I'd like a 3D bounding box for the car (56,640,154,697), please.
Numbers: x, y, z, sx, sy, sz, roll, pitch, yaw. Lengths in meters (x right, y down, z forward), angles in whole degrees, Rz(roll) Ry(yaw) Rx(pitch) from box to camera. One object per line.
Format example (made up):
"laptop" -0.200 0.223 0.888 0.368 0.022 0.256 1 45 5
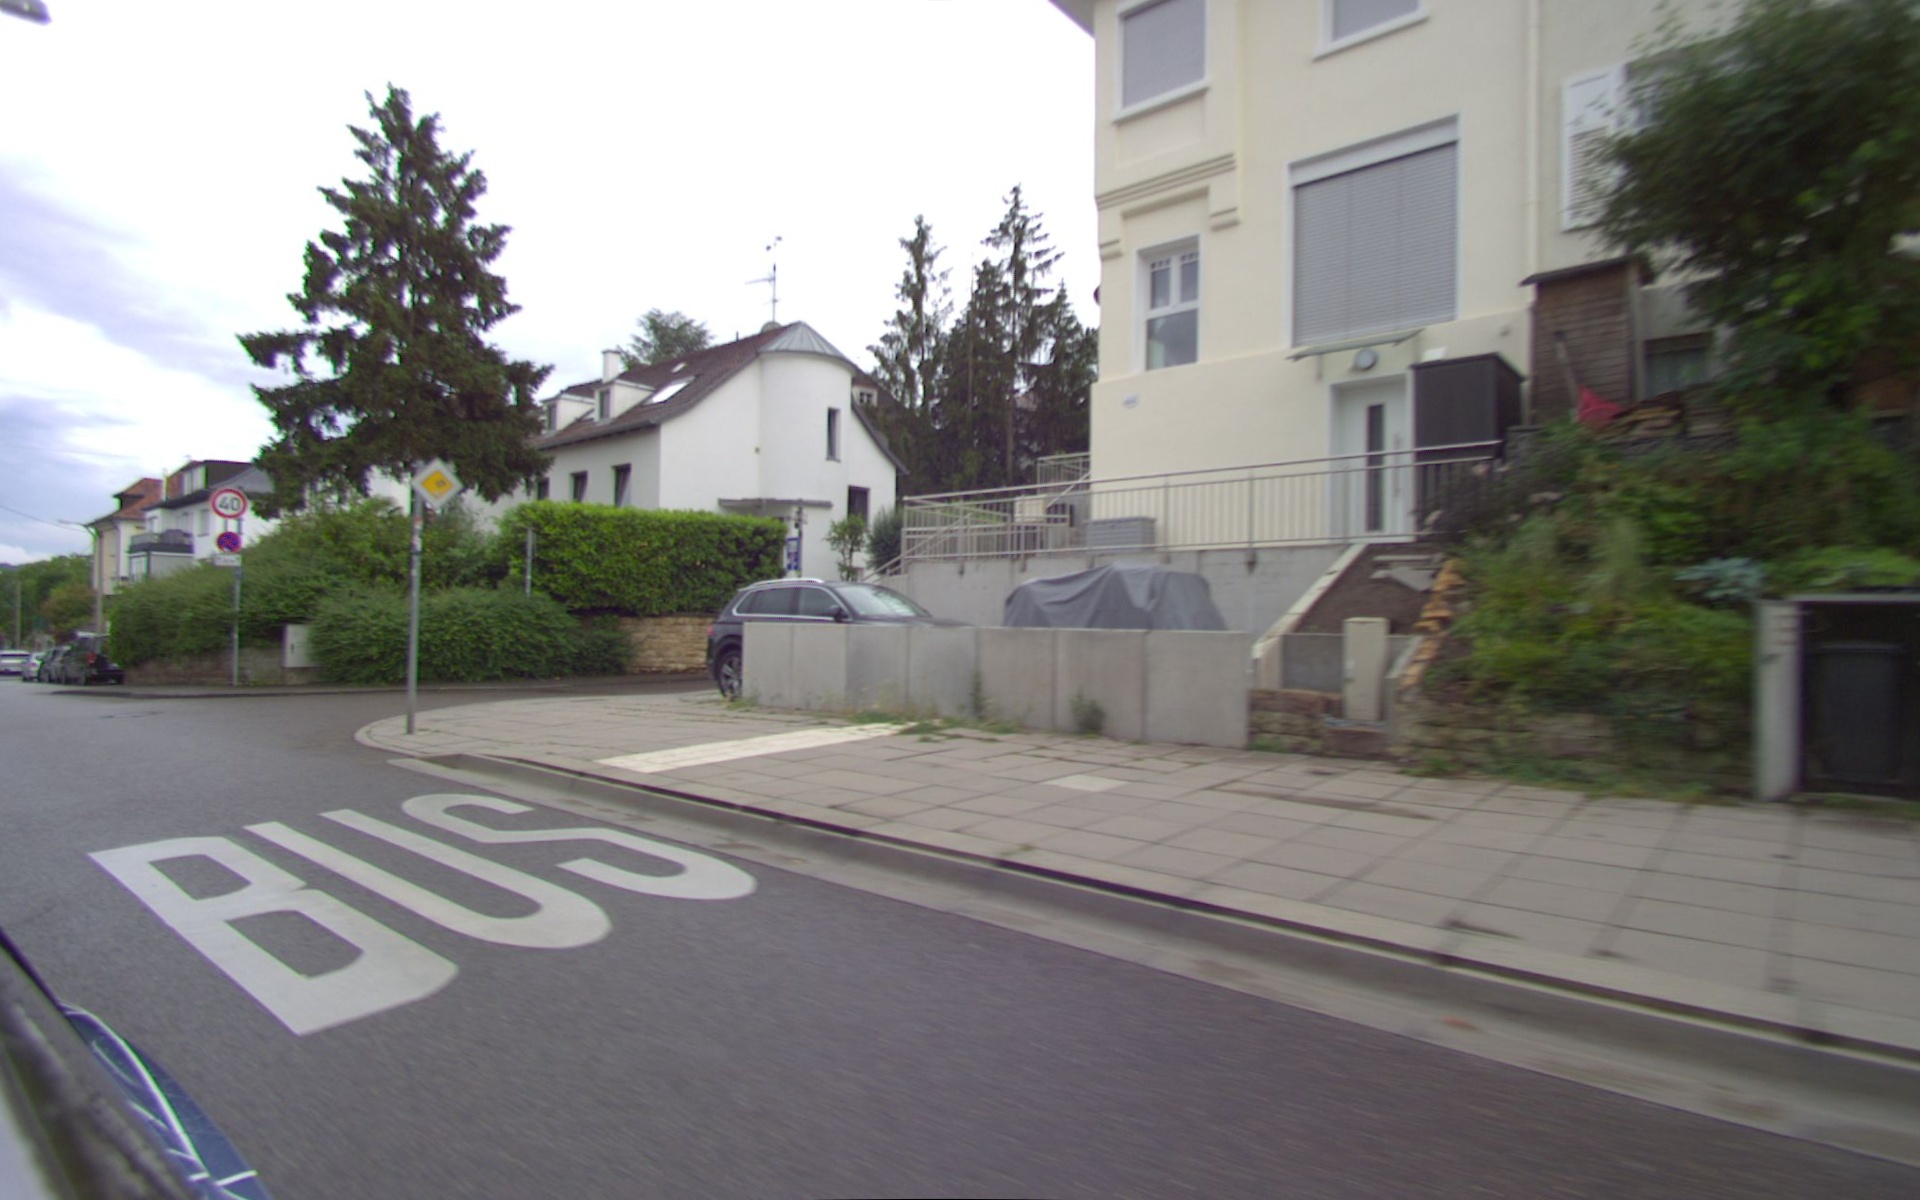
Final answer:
"car" -32.613 2.615 38.568 4.769 1.972 1.974 -4 -2 39

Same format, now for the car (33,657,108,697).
"car" -37.143 3.224 42.222 4.399 1.502 1.675 -4 -2 40

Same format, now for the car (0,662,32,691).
"car" -53.431 4.270 56.723 4.001 1.512 1.843 -4 -3 44

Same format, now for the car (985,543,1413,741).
"car" 2.407 0.457 10.671 3.993 1.709 1.749 -3 -3 37

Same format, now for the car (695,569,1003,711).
"car" -1.572 0.558 13.574 3.993 1.630 1.749 -3 -3 37

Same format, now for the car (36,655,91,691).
"car" -40.299 3.269 45.491 2.892 1.502 1.502 -4 -2 41

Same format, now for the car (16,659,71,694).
"car" -43.719 3.635 48.249 3.436 1.502 1.573 -4 -2 42
